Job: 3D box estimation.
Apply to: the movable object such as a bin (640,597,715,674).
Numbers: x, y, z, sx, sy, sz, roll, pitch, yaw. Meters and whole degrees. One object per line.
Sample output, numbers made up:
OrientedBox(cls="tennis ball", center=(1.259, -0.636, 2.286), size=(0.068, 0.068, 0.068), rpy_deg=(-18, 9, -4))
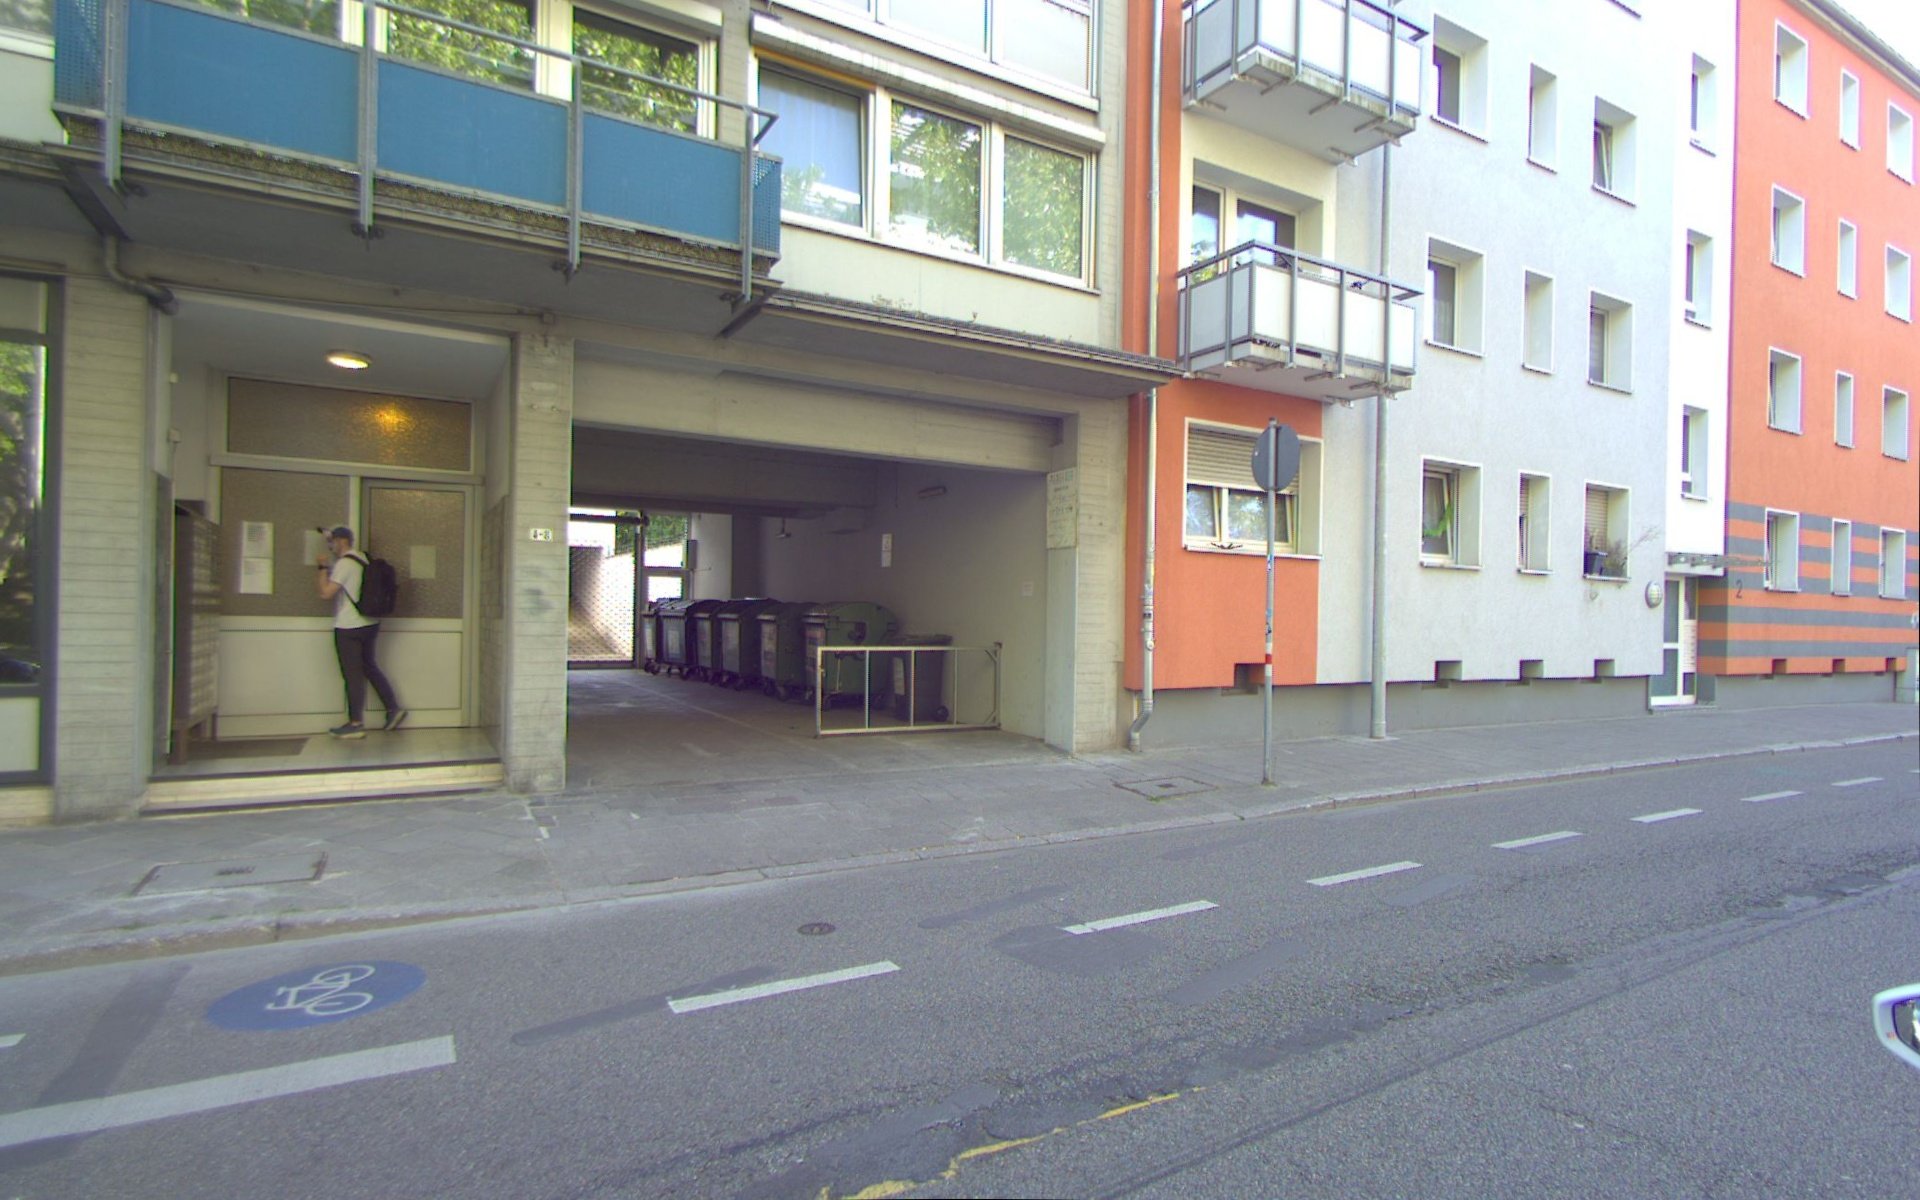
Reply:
OrientedBox(cls="movable object such as a bin", center=(-5.619, 0.698, 19.975), size=(1.186, 1.467, 1.027), rpy_deg=(2, 0, -30))

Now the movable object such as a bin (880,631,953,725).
OrientedBox(cls="movable object such as a bin", center=(-0.538, 0.950, 12.404), size=(0.745, 1.116, 0.463), rpy_deg=(2, 0, -30))

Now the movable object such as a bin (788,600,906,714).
OrientedBox(cls="movable object such as a bin", center=(-1.565, 0.750, 13.796), size=(1.159, 1.467, 1.319), rpy_deg=(2, 0, -30))

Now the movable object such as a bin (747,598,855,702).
OrientedBox(cls="movable object such as a bin", center=(-2.406, 0.731, 15.129), size=(1.186, 1.467, 1.319), rpy_deg=(2, 0, -30))

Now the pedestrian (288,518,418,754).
OrientedBox(cls="pedestrian", center=(-5.180, 0.294, 8.586), size=(0.573, 1.904, 0.782), rpy_deg=(2, 0, 42))

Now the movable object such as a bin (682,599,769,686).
OrientedBox(cls="movable object such as a bin", center=(-4.144, 0.731, 17.704), size=(1.186, 1.467, 1.114), rpy_deg=(2, 0, -30))

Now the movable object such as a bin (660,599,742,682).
OrientedBox(cls="movable object such as a bin", center=(-4.843, 0.733, 18.746), size=(1.186, 1.467, 1.222), rpy_deg=(2, 0, -30))

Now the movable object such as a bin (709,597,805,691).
OrientedBox(cls="movable object such as a bin", center=(-3.373, 0.710, 16.613), size=(1.186, 1.467, 1.319), rpy_deg=(2, 0, -30))
